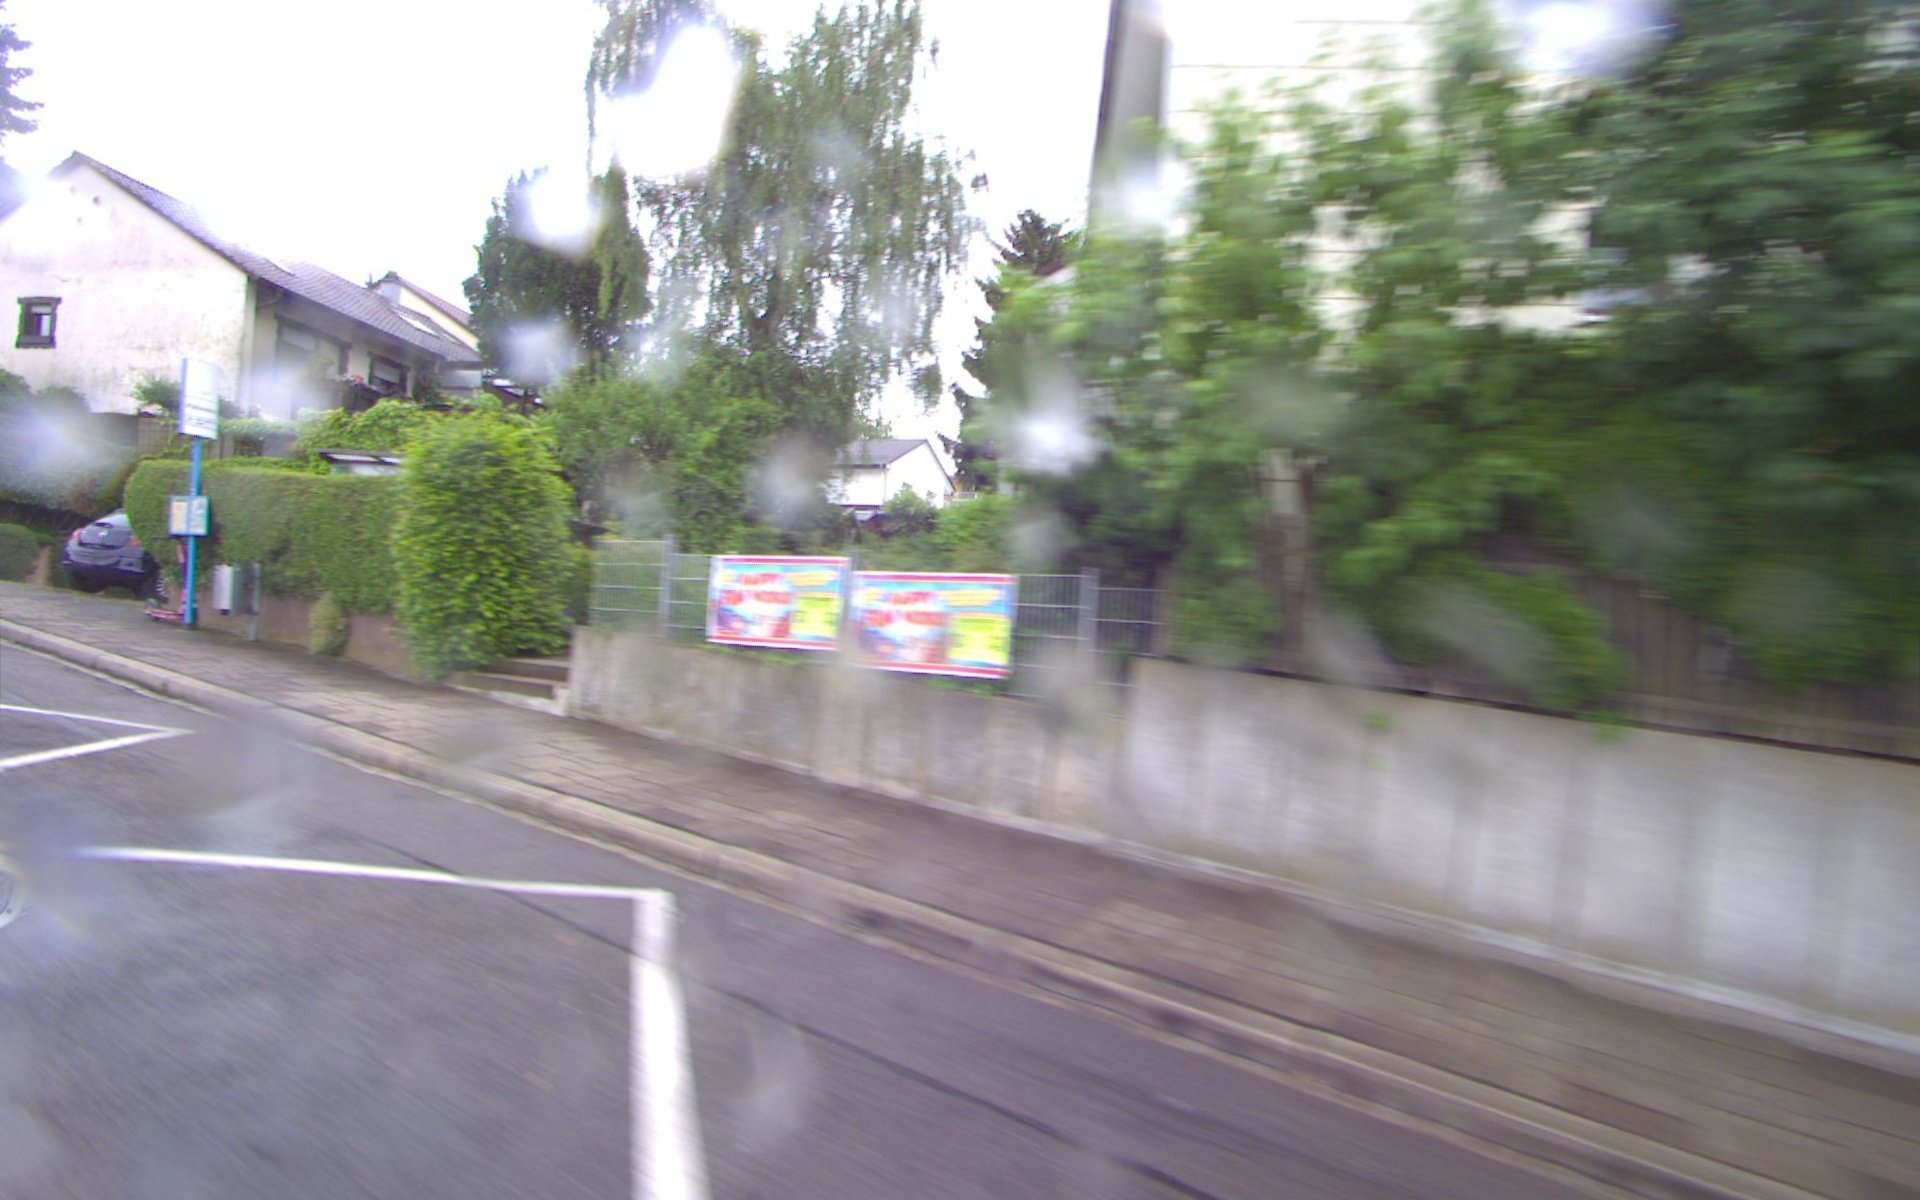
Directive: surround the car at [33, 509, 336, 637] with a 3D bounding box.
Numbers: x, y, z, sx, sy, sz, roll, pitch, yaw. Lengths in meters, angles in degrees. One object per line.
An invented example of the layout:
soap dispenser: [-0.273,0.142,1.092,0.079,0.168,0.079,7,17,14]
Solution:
car: [-12.917,-0.362,17.089,1.738,1.308,3.725,5,-9,11]
